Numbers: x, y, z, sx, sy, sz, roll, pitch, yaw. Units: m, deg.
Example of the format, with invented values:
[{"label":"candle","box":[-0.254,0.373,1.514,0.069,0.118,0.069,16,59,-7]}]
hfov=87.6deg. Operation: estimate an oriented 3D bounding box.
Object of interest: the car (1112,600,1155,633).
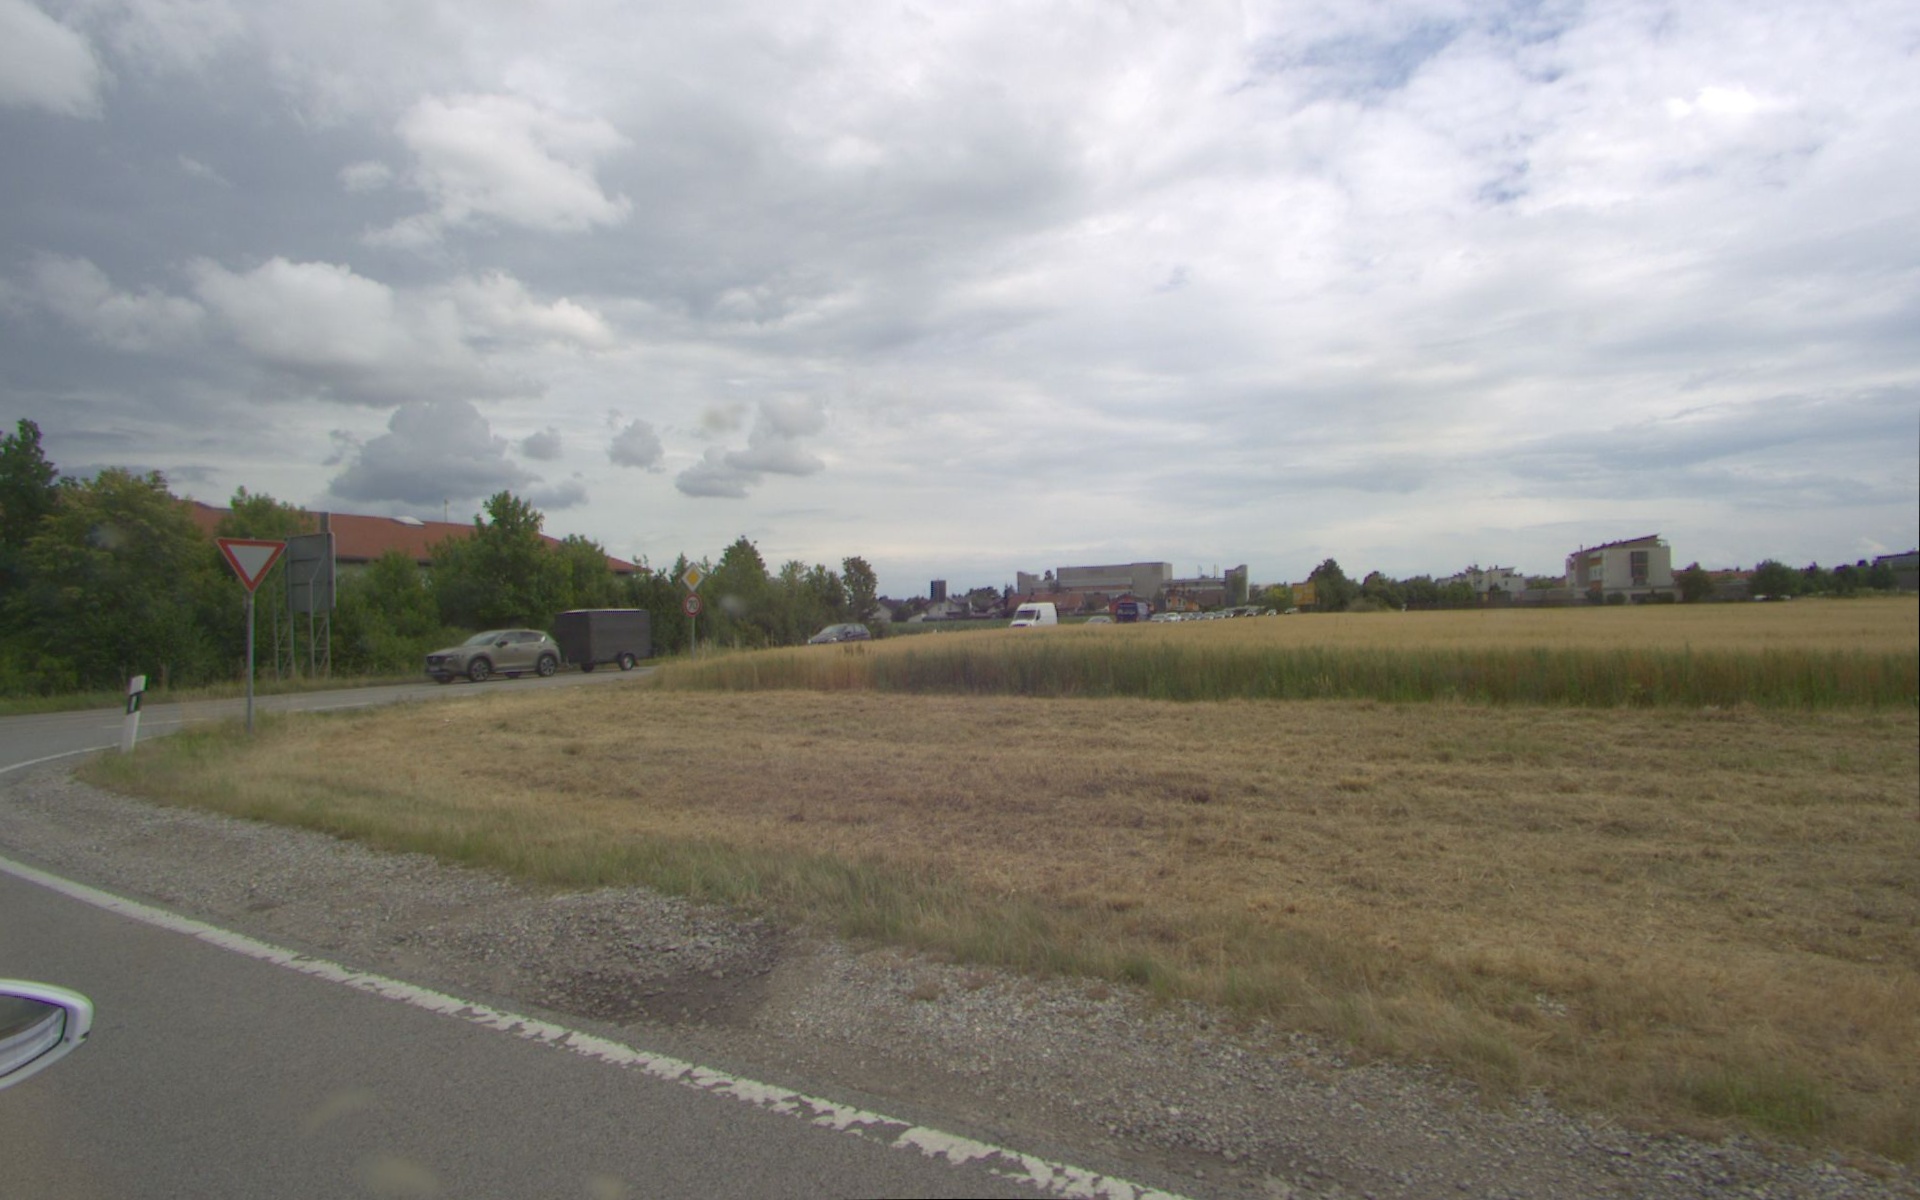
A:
[{"label":"car","box":[14.791,1.358,85.023,2.115,2.674,5.549,0,0,26]}]

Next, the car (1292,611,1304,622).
[{"label":"car","box":[64.800,3.091,192.072,1.966,1.916,3.988,-1,1,22]}]

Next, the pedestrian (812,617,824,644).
[{"label":"pedestrian","box":[-9.122,1.970,64.200,0.521,1.705,0.626,0,1,21]}]

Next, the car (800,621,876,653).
[{"label":"car","box":[-6.316,1.921,52.461,1.968,1.506,4.287,-2,0,24]}]

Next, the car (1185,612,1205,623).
[{"label":"car","box":[30.332,2.289,129.315,1.826,1.287,3.518,-1,0,25]}]

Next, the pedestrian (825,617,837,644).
[{"label":"pedestrian","box":[-8.222,1.961,63.746,0.521,1.705,0.626,0,1,21]}]

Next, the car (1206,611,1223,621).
[{"label":"car","box":[36.332,2.313,142.870,1.826,1.287,3.518,-1,0,25]}]

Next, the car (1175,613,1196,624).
[{"label":"car","box":[27.612,2.228,122.346,1.826,1.287,3.518,-1,0,25]}]

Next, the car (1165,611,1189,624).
[{"label":"car","box":[25.329,2.053,116.799,1.826,1.486,3.987,-1,0,25]}]

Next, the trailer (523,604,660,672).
[{"label":"trailer","box":[-13.643,1.367,37.329,2.378,2.322,4.383,-3,-1,23]}]

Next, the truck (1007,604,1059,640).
[{"label":"truck","box":[5.715,1.666,77.131,1.968,2.608,5.997,-3,-2,24]}]

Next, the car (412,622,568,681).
[{"label":"car","box":[-15.443,1.654,33.186,1.967,1.704,4.466,-3,-1,23]}]

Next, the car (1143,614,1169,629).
[{"label":"car","box":[21.261,2.357,108.511,1.826,1.486,3.986,-1,0,26]}]

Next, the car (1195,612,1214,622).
[{"label":"car","box":[33.195,2.242,135.836,1.826,1.287,3.518,-1,0,25]}]

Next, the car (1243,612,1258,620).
[{"label":"car","box":[48.642,2.635,167.619,1.826,1.287,3.518,-1,0,25]}]
